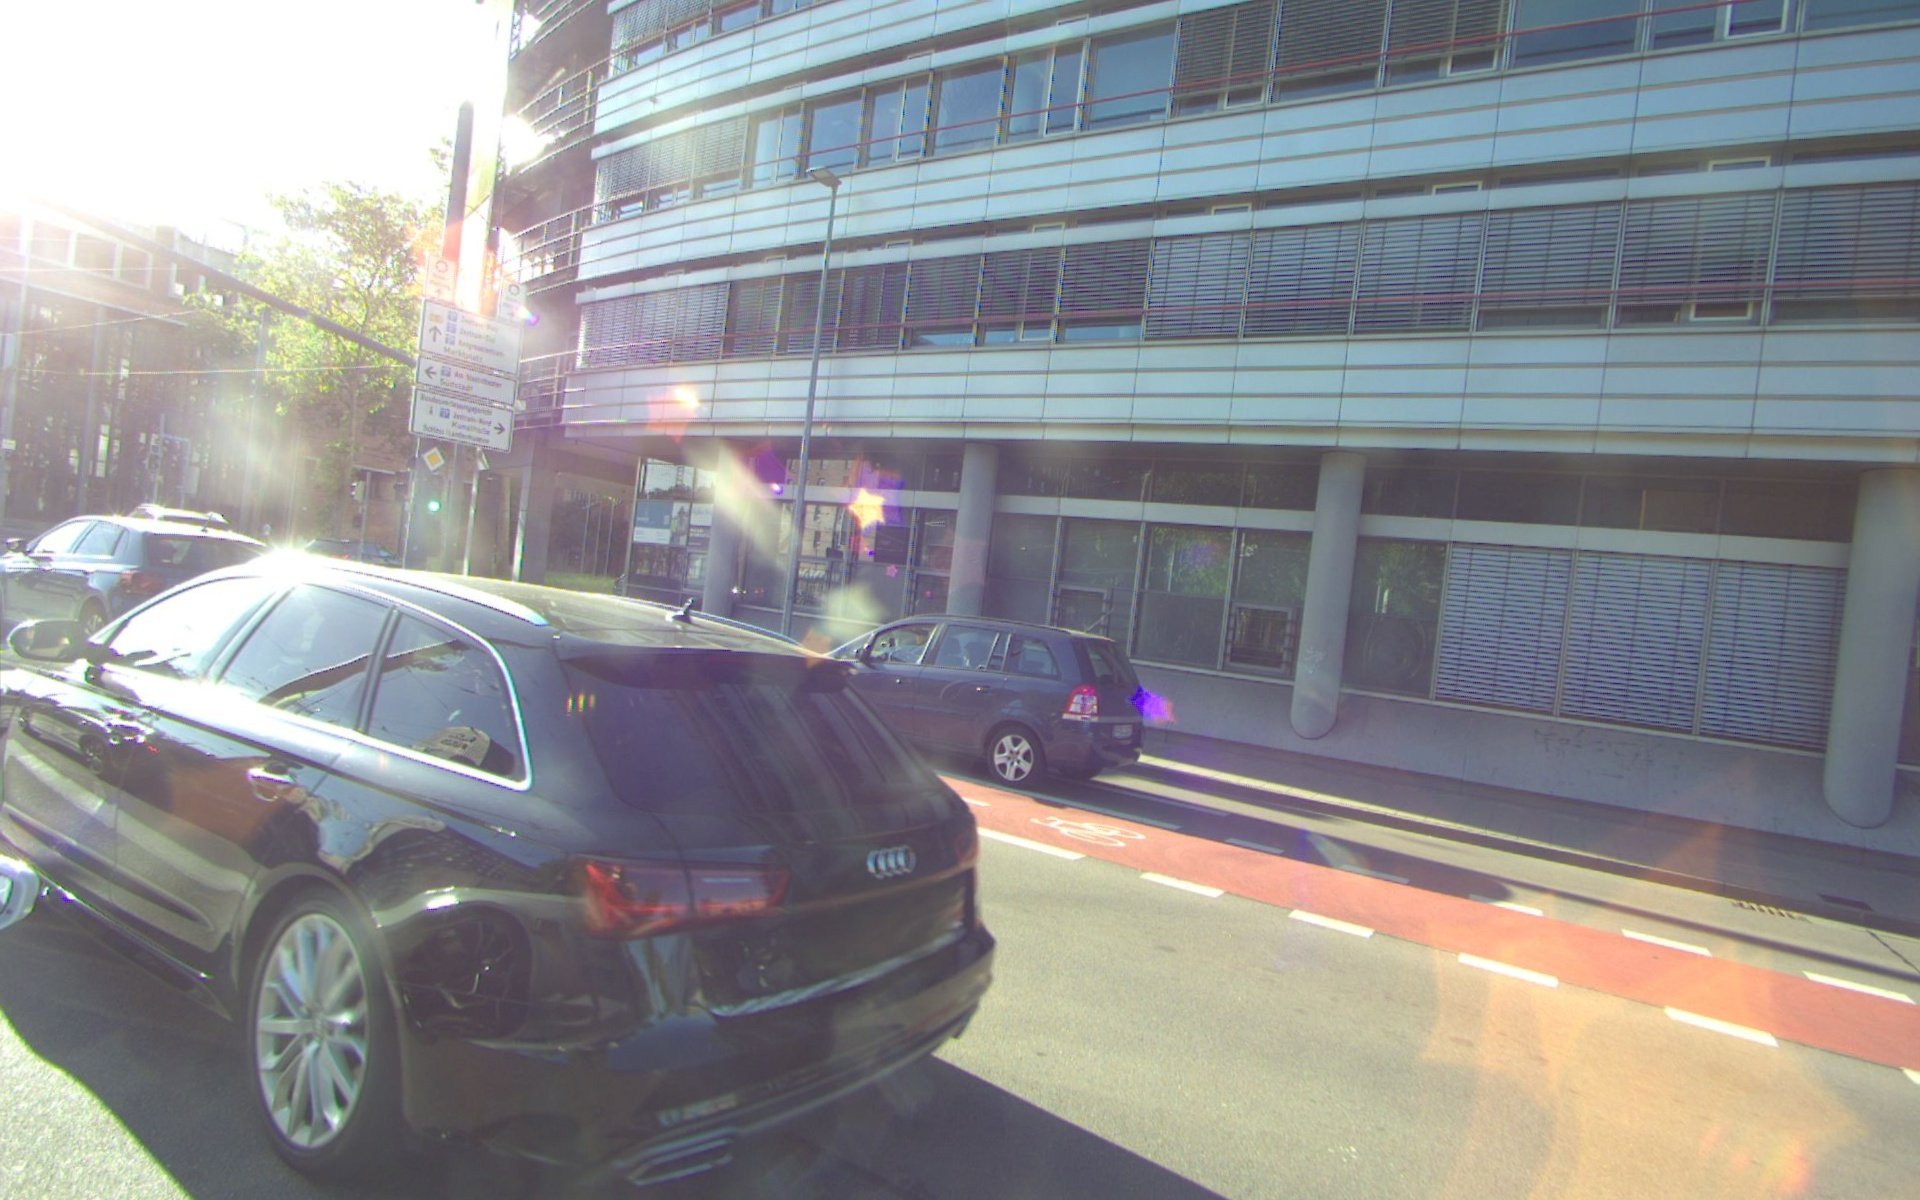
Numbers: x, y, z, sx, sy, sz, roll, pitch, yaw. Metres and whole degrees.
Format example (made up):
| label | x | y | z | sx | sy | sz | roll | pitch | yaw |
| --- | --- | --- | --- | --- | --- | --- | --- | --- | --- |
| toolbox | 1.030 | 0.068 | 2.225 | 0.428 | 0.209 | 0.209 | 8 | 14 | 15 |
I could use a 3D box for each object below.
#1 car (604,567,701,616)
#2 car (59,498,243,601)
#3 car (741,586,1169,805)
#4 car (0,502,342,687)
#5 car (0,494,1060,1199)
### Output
| label | x | y | z | sx | sy | sz | roll | pitch | yaw |
| --- | --- | --- | --- | --- | --- | --- | --- | --- | --- |
| car | -13.725 | -0.352 | 45.133 | 1.832 | 1.670 | 4.001 | 7 | -2 | 24 |
| car | -17.838 | -1.130 | 22.120 | 4.261 | 1.771 | 1.994 | 7 | 0 | 36 |
| car | -0.144 | 0.938 | 11.194 | 4.388 | 1.649 | 1.690 | 7 | 0 | 31 |
| car | -8.740 | -0.094 | 10.754 | 3.931 | 1.474 | 1.812 | 7 | -1 | 28 |
| car | -2.067 | 0.517 | 3.778 | 4.422 | 1.511 | 1.811 | 6 | 1 | 33 |
